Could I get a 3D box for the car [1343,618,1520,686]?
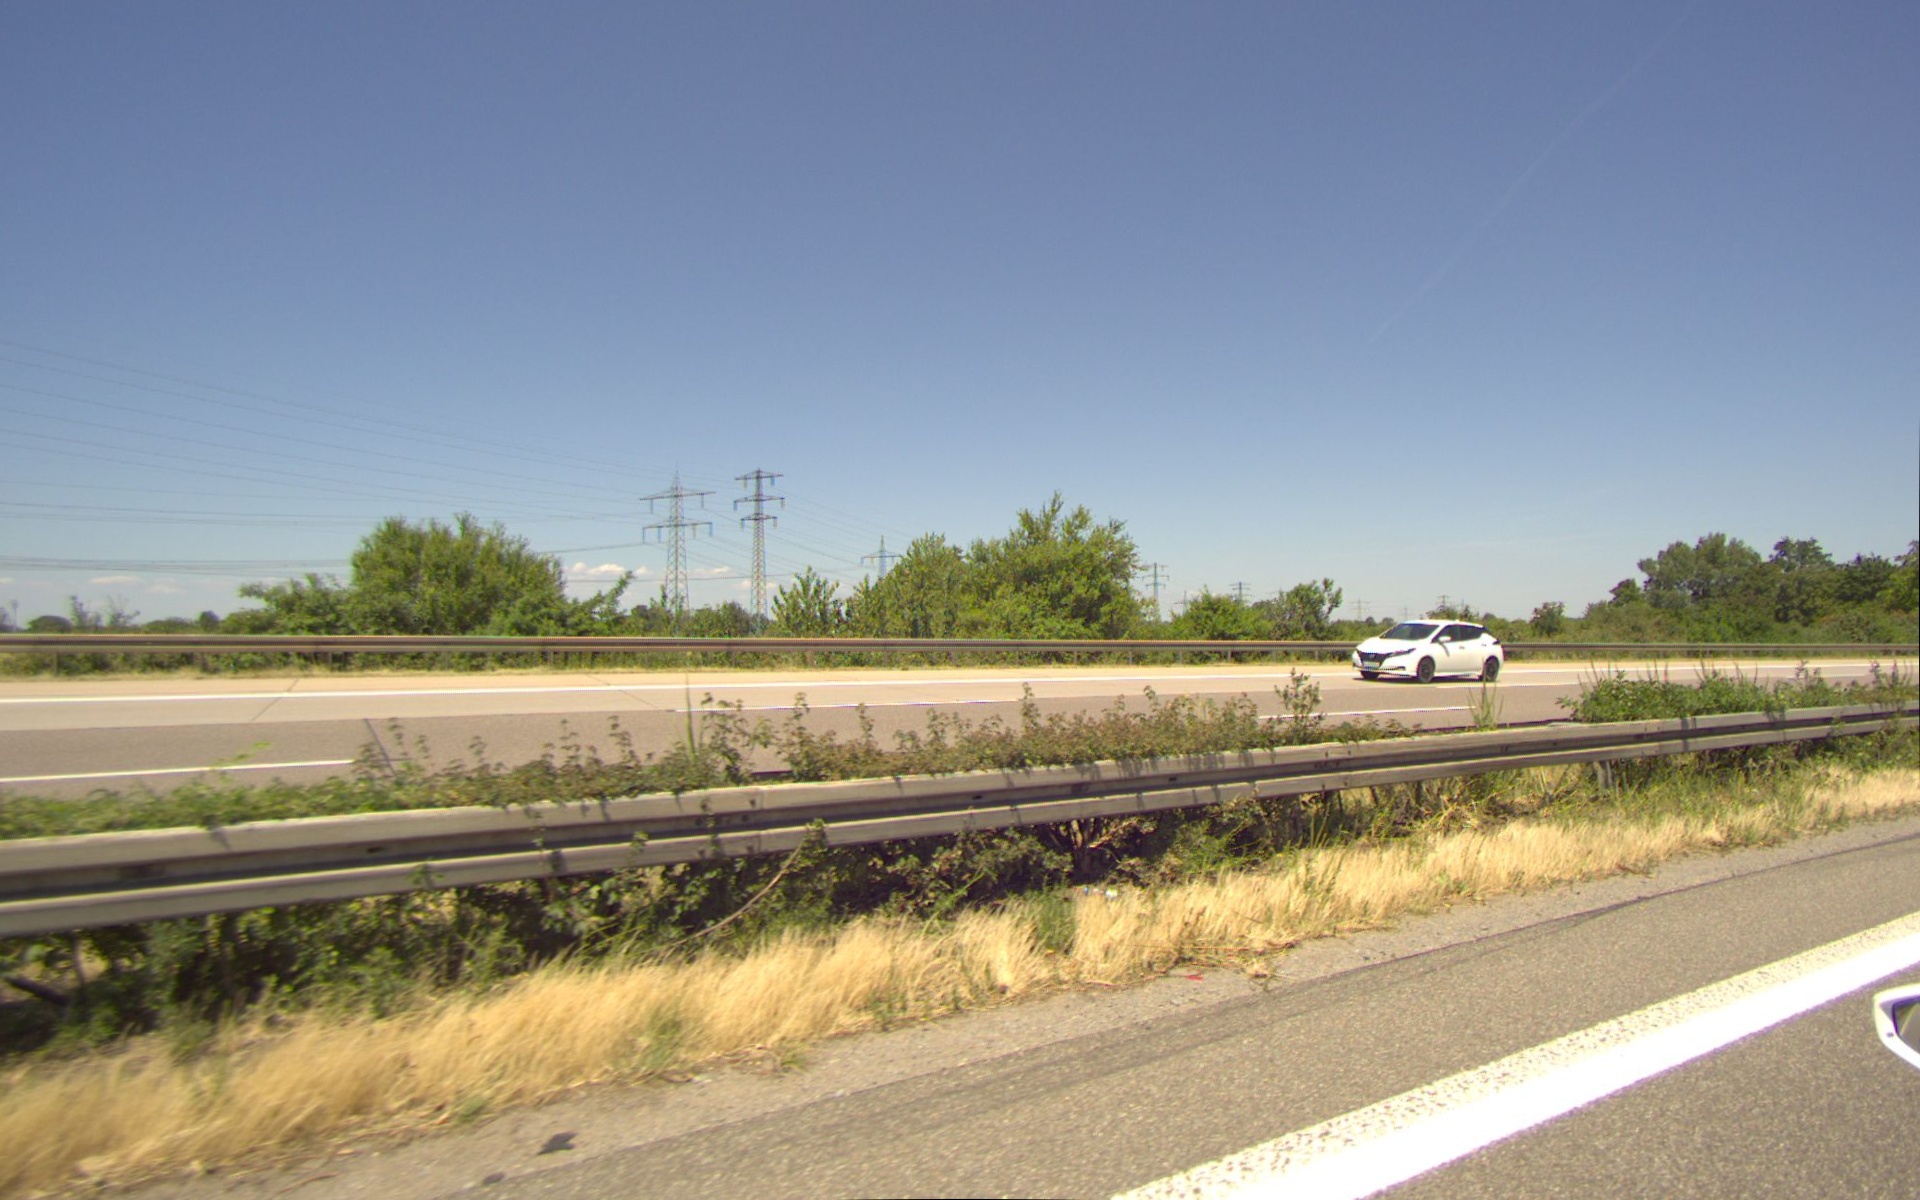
[{"bbox_3d":[12.261,1.295,26.044,4.769,1.561,1.739,1,1,-30],"label":"car"}]
